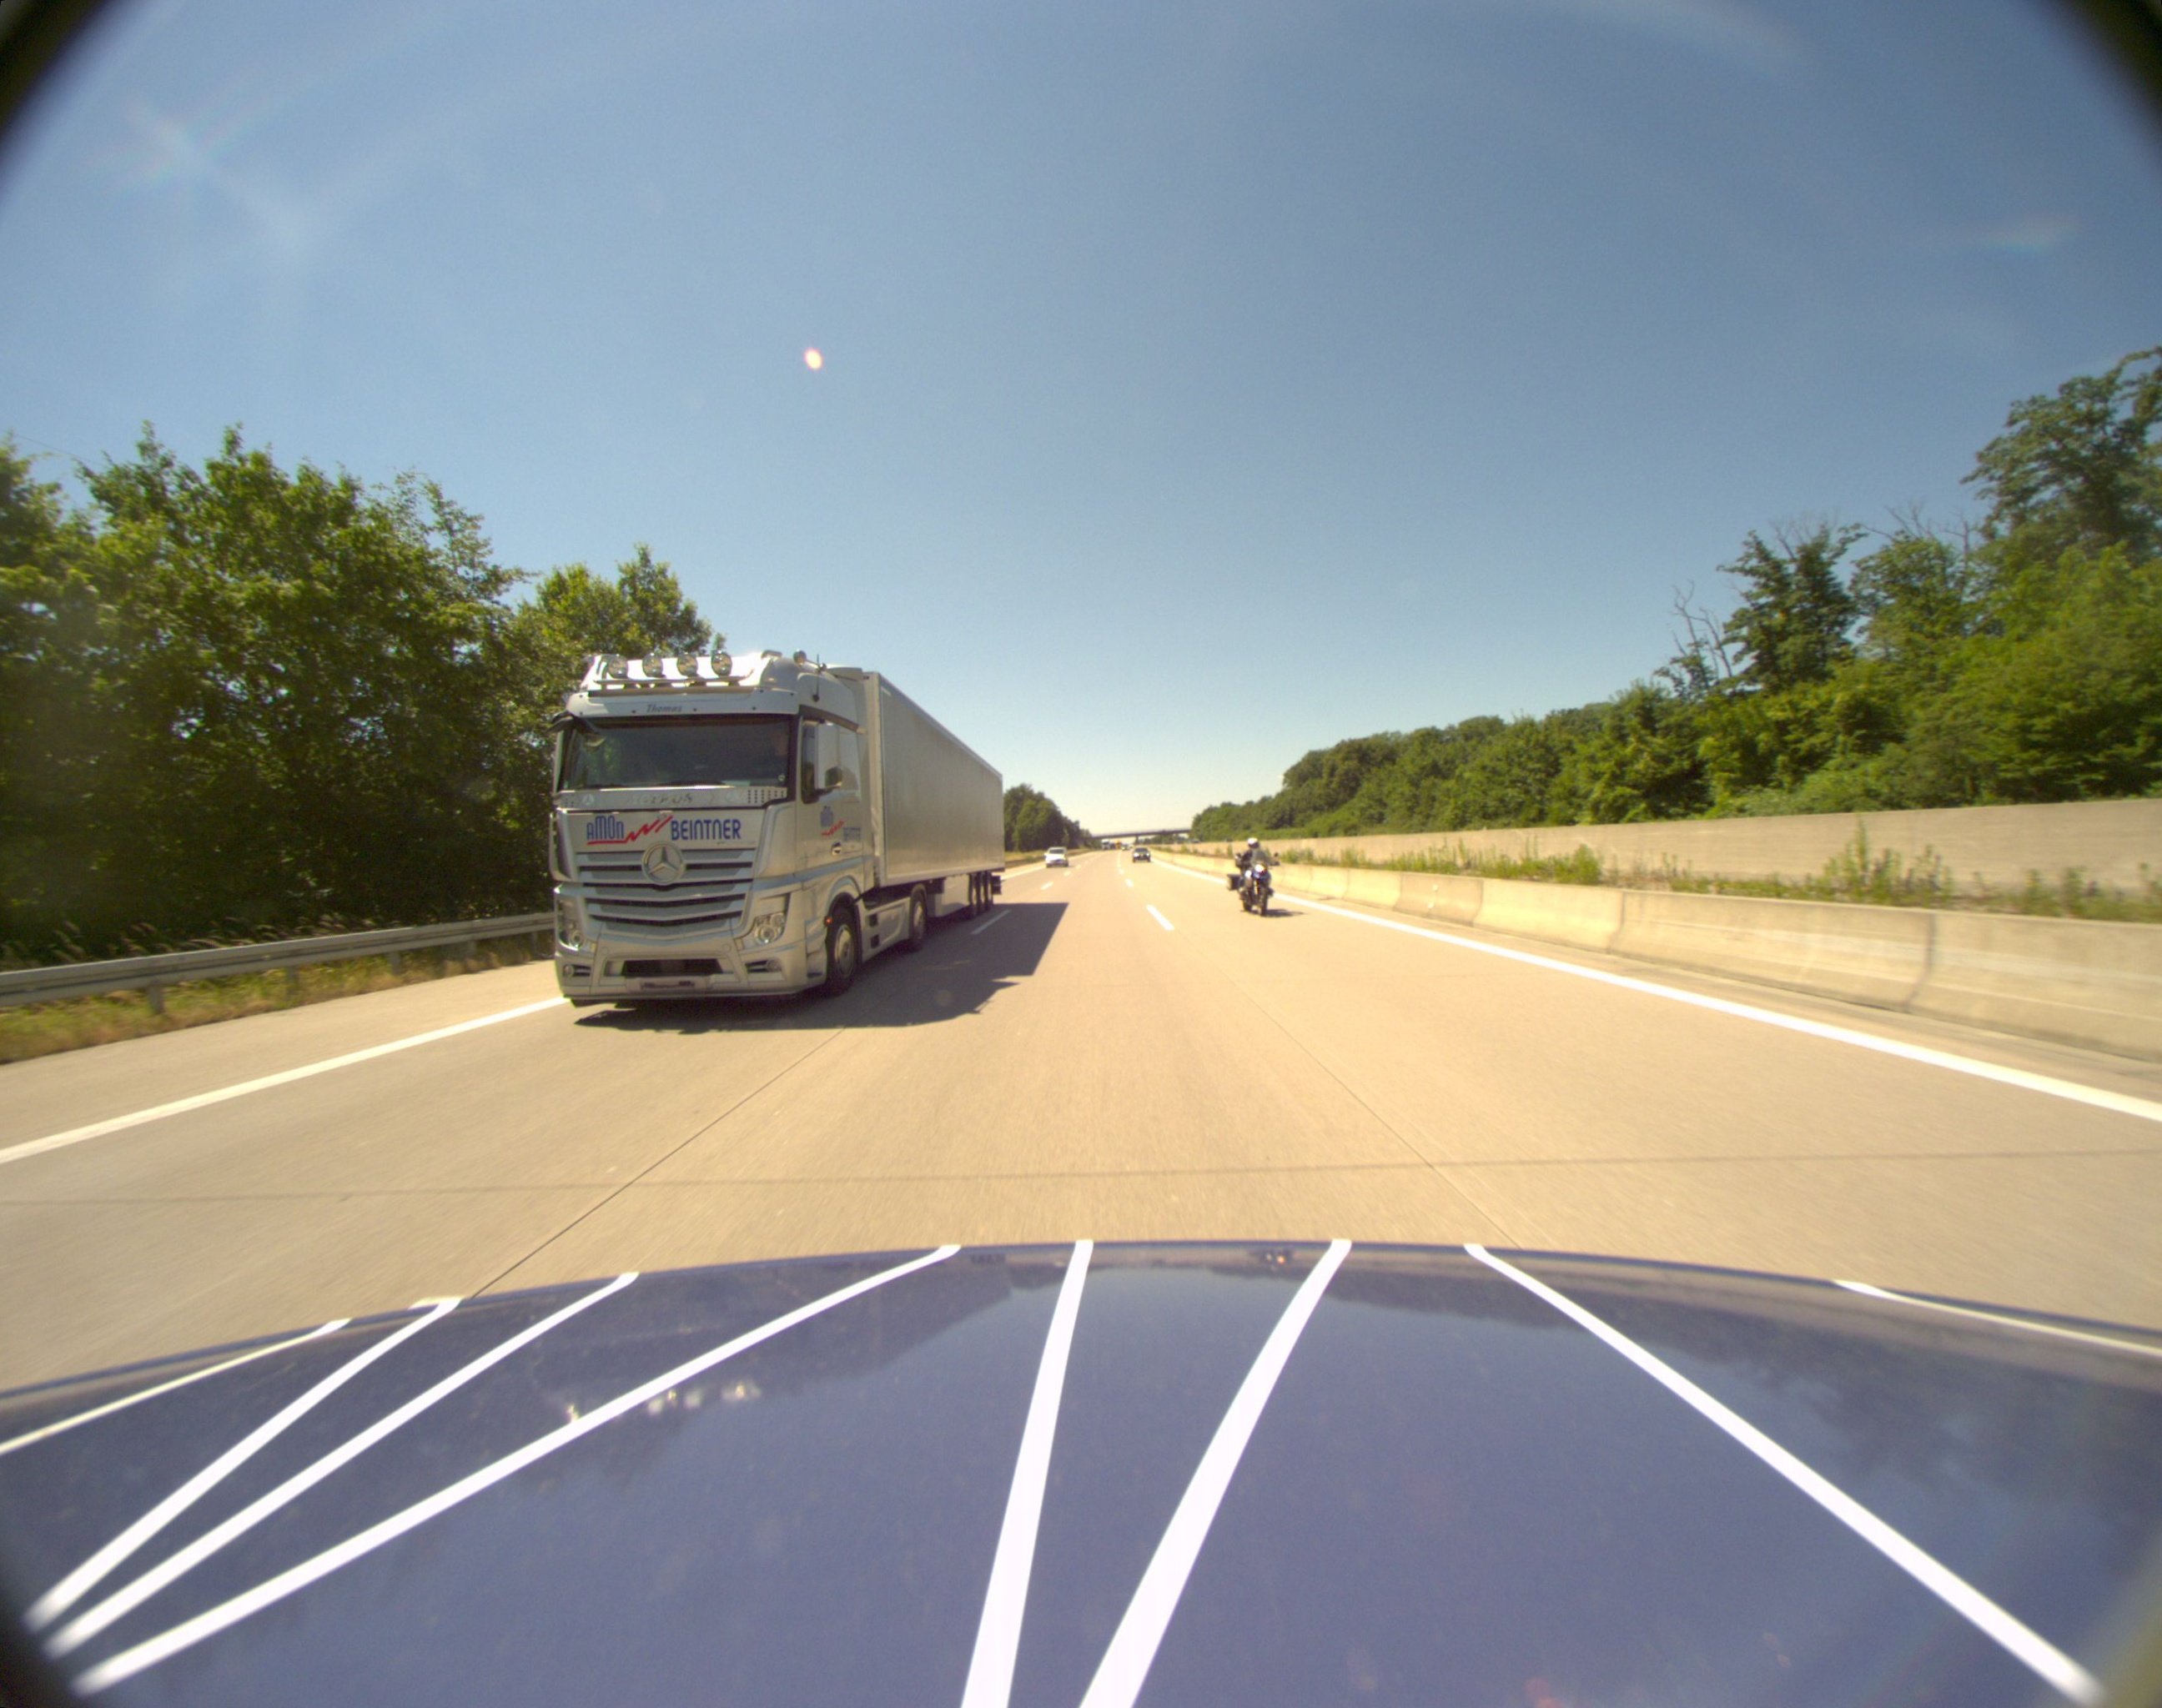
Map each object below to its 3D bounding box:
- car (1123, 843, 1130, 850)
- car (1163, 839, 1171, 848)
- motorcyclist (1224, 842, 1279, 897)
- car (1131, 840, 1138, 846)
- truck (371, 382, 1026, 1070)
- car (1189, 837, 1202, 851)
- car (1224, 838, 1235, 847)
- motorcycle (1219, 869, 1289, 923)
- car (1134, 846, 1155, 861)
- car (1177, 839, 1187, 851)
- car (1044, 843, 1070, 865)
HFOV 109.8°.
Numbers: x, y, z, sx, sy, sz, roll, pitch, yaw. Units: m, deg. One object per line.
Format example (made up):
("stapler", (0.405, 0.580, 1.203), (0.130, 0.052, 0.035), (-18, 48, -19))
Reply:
("car", (10.761, -1.783, 179.664), (1.586, 1.527, 3.612), (-2, 1, 3))
("car", (20.634, -2.503, 182.780), (1.639, 2.002, 3.652), (-2, 1, 2))
("motorcyclist", (3.832, 0.339, 17.146), (1.027, 1.202, 0.911), (-2, 0, 1))
("car", (15.194, -3.227, 217.558), (1.580, 1.565, 3.674), (-2, 1, -2))
("truck", (-4.019, -1.129, 15.810), (3.586, 5.753, 18.247), (-5, 0, 1))
("car", (17.079, -1.474, 113.379), (1.436, 2.002, 4.787), (-2, 1, 2))
("car", (27.030, -2.100, 138.786), (1.436, 1.705, 3.273), (-2, 1, 2))
("motorcycle", (3.847, 0.898, 17.111), (1.024, 1.042, 2.413), (-2, 0, 1))
("car", (6.635, -0.103, 79.894), (1.998, 1.518, 4.000), (-2, 1, 3))
("car", (18.560, -1.635, 139.550), (1.436, 2.002, 3.520), (-2, 1, 2))
("car", (-2.309, 0.004, 73.746), (1.883, 1.878, 5.280), (-5, 0, 3))
